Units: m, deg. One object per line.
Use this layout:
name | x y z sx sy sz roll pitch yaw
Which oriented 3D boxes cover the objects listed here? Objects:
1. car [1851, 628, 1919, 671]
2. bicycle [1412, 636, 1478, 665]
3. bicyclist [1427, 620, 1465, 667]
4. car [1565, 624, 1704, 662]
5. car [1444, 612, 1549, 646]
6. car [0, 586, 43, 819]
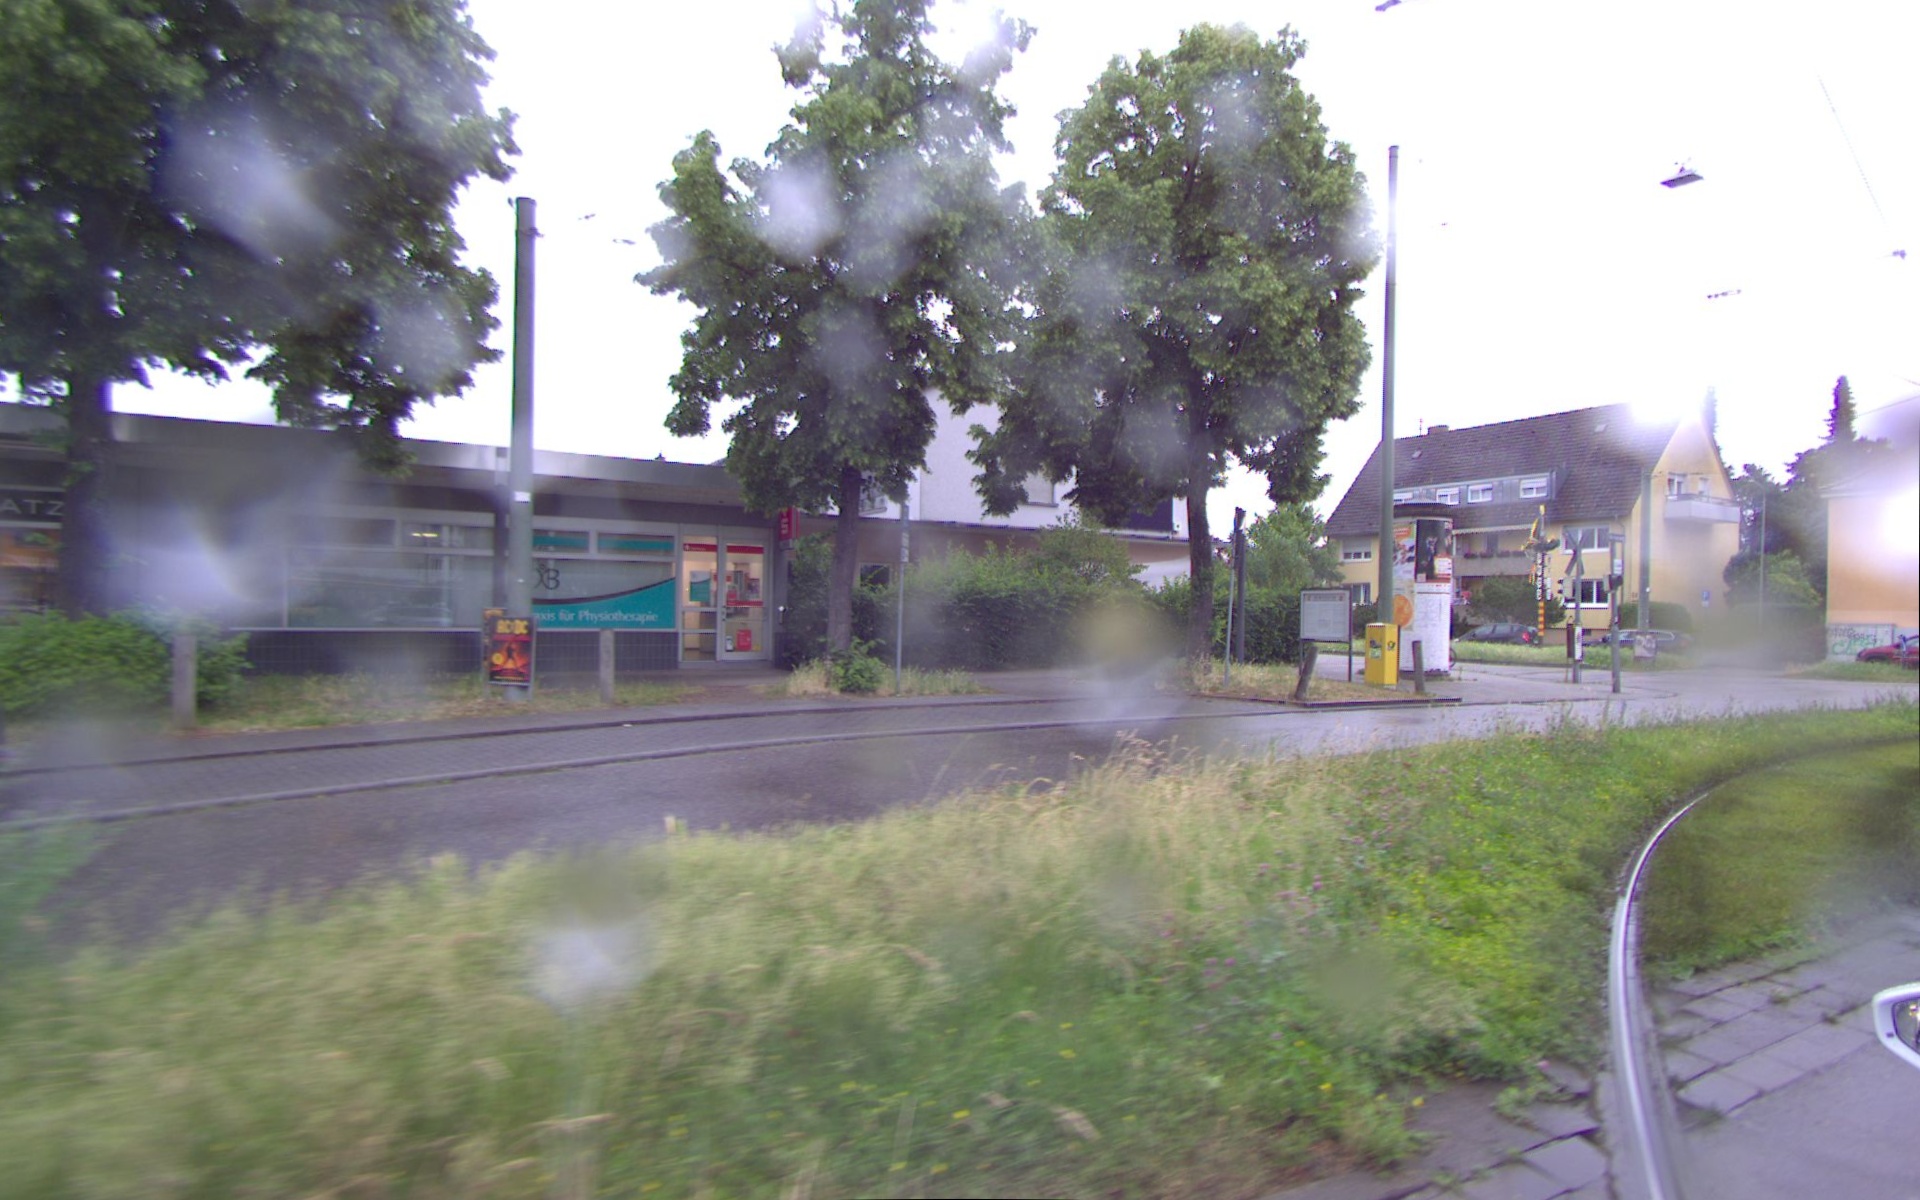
car | 33.654 1.755 34.987 1.705 1.357 3.583 1 1 -33
bicycle | 17.075 1.772 35.393 0.815 0.924 1.967 2 0 -33
bicyclist | 17.108 1.523 35.359 0.825 1.579 0.905 2 0 -34
car | 28.343 1.782 42.326 1.946 1.414 4.464 1 0 -33
car | 25.059 1.336 47.021 1.741 1.350 3.962 1 1 -34
car | -8.053 0.672 6.074 1.530 1.523 3.603 3 2 42
